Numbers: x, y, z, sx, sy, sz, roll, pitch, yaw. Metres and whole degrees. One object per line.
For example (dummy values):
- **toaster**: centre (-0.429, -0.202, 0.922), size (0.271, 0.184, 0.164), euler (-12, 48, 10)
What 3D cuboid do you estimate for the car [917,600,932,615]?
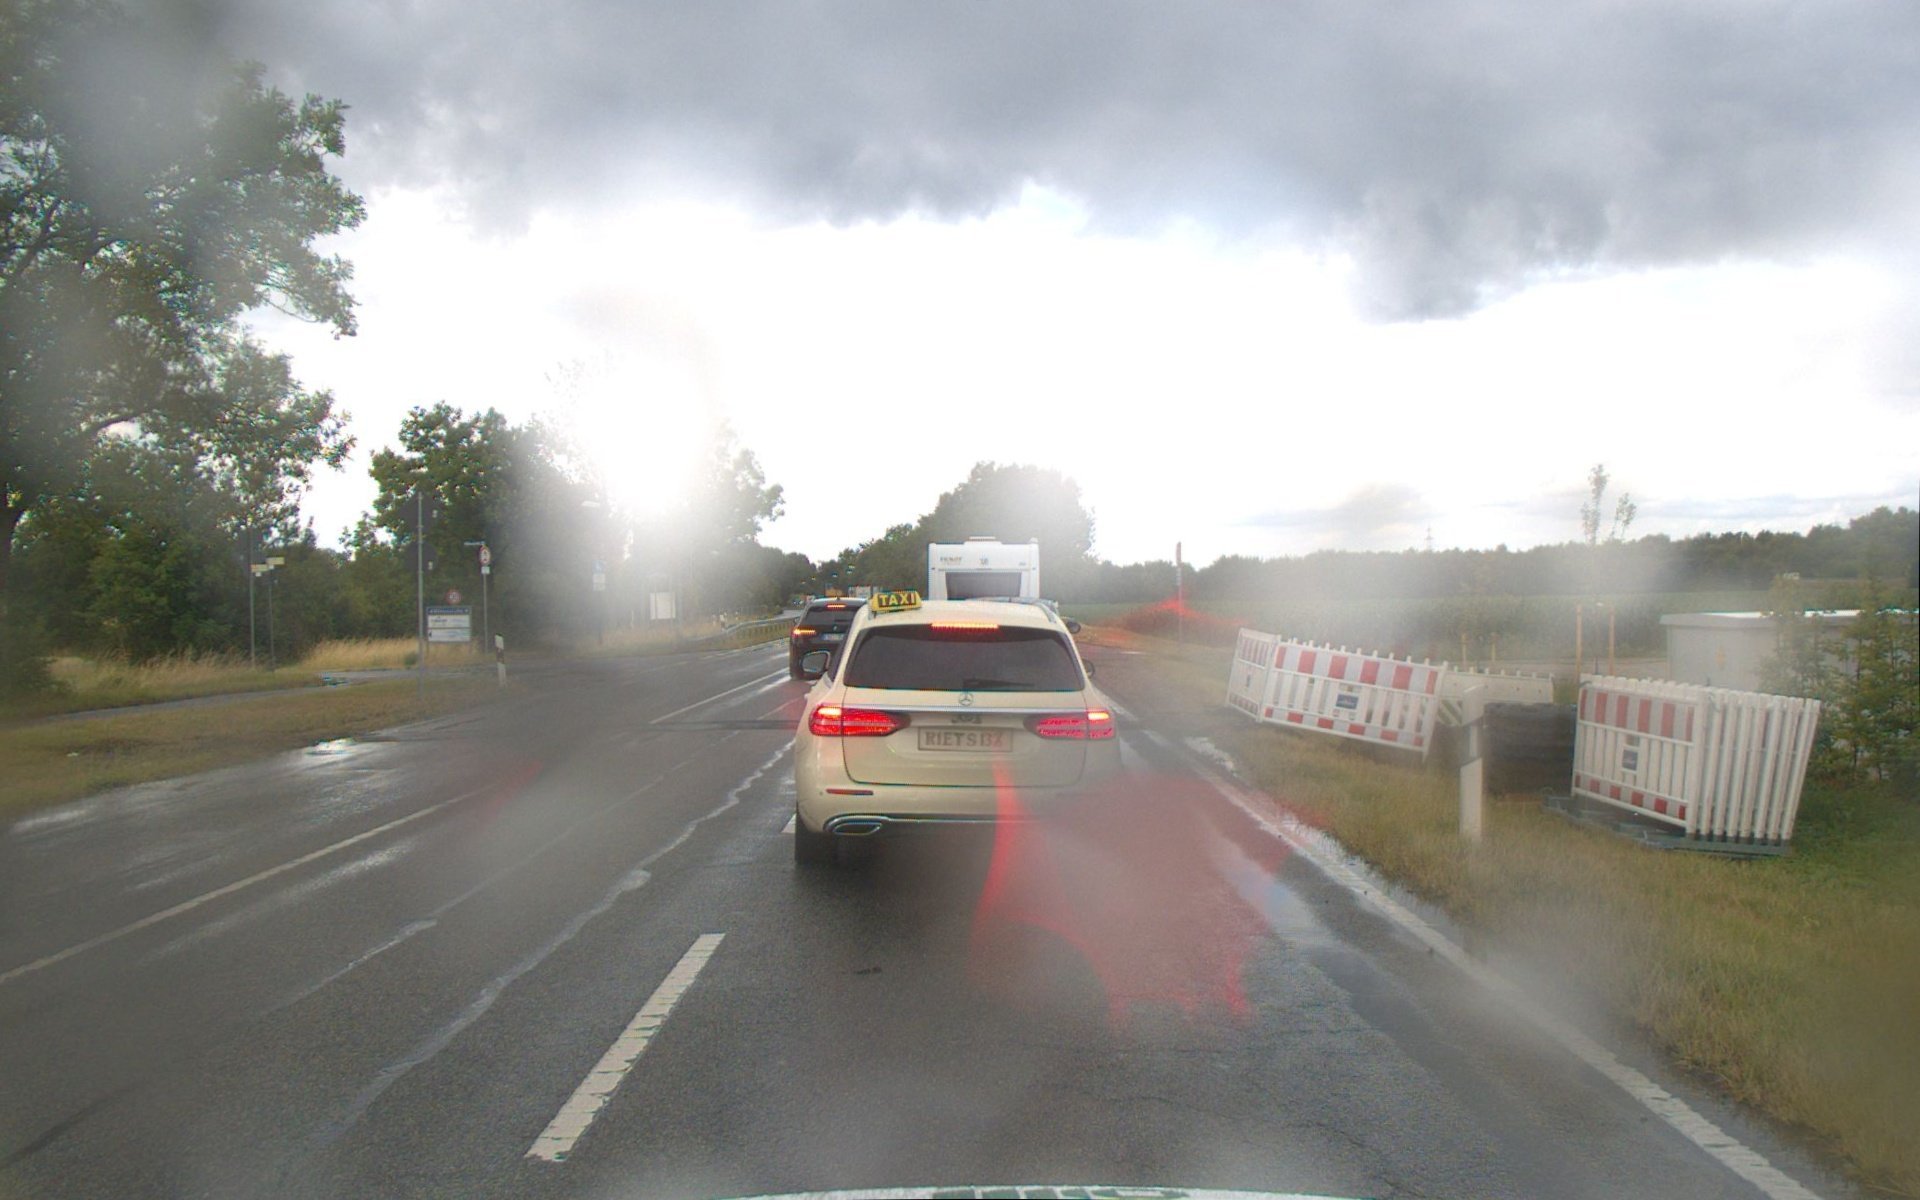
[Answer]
- **car**: centre (-3.897, 0.846, 181.638), size (1.648, 1.578, 3.752), euler (1, 0, -1)

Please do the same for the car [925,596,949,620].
- **car**: centre (-1.796, 0.610, 129.651), size (1.755, 1.808, 3.720), euler (-1, 0, -1)

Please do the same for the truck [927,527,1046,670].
- **truck**: centre (0.504, -0.036, 36.438), size (2.315, 2.776, 7.313), euler (-1, 0, 0)

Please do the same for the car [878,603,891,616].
- **car**: centre (-11.625, 1.437, 253.949), size (1.856, 1.872, 3.881), euler (-1, 0, -1)

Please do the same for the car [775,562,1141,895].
- **car**: centre (-0.022, 0.641, 10.199), size (1.805, 1.646, 3.999), euler (0, 0, -1)

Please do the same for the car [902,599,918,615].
- **car**: centre (-6.369, 0.848, 209.659), size (1.858, 1.928, 3.840), euler (-1, 0, -3)

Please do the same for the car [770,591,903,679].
- **car**: centre (-2.327, 0.650, 32.427), size (2.255, 1.574, 4.632), euler (1, 0, -1)

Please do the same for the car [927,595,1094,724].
- **car**: centre (0.580, 0.704, 21.478), size (1.953, 1.488, 3.999), euler (1, 0, -1)
